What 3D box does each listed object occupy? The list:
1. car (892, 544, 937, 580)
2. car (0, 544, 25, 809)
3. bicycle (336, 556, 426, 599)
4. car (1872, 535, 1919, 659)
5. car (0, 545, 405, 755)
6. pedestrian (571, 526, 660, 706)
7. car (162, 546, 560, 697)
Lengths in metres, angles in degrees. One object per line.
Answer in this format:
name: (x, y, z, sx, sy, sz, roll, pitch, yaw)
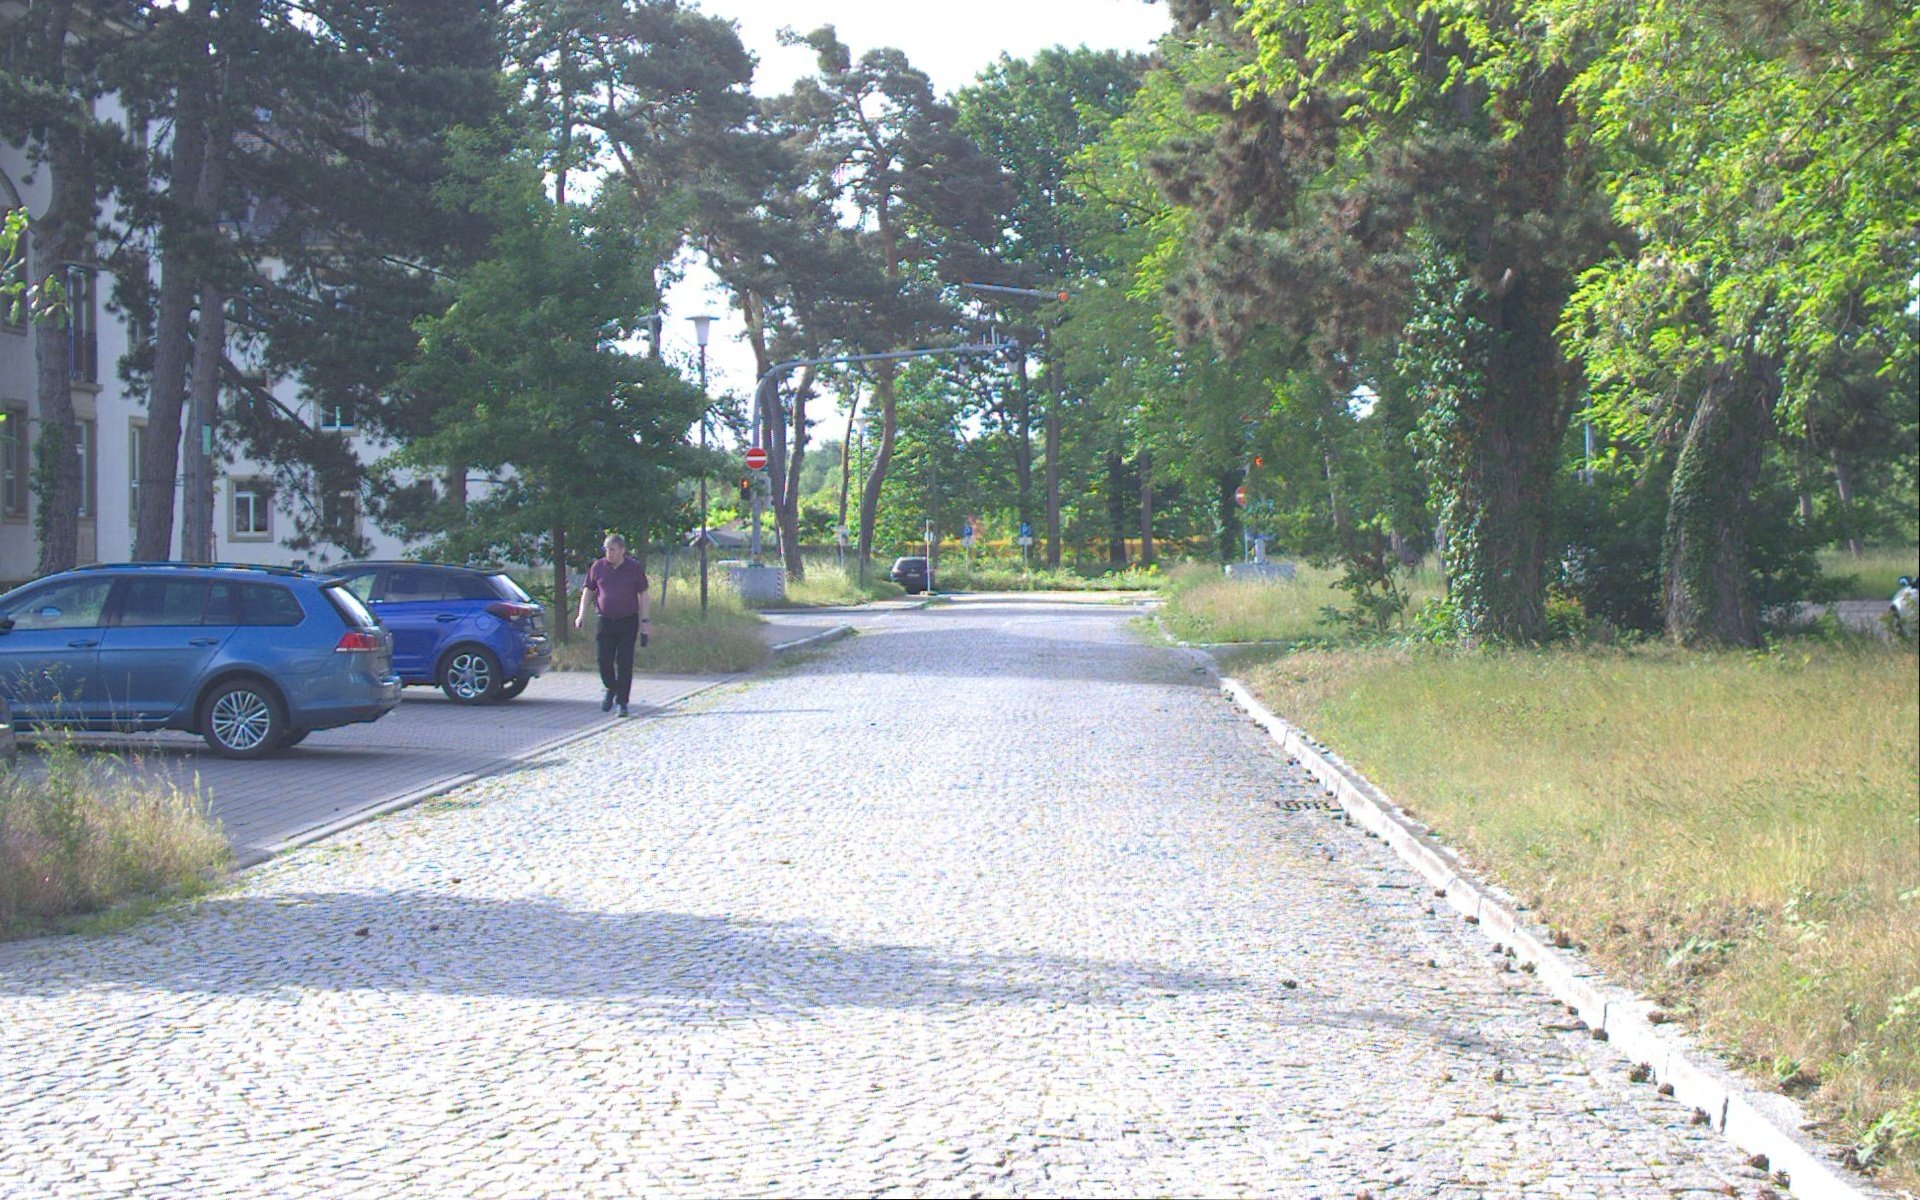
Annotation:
car: (-1.880, -1.592, 142.721, 1.845, 1.481, 4.000, 0, 1, 0)
car: (-6.913, 0.414, 19.598, 2.699, 1.537, 1.519, 2, 1, 1)
bicycle: (-14.407, -0.555, 85.586, 2.117, 1.043, 0.829, 0, 1, -1)
car: (12.188, -0.037, 40.608, 1.667, 1.462, 4.000, 0, 1, -2)
car: (-6.610, 0.352, 26.915, 4.256, 1.459, 1.681, 2, 3, -1)
pedestrian: (-3.431, 0.148, 34.311, 0.804, 1.765, 1.153, 0, 1, -2)
car: (-6.319, 0.206, 36.488, 3.836, 1.459, 1.719, 2, 1, 4)
